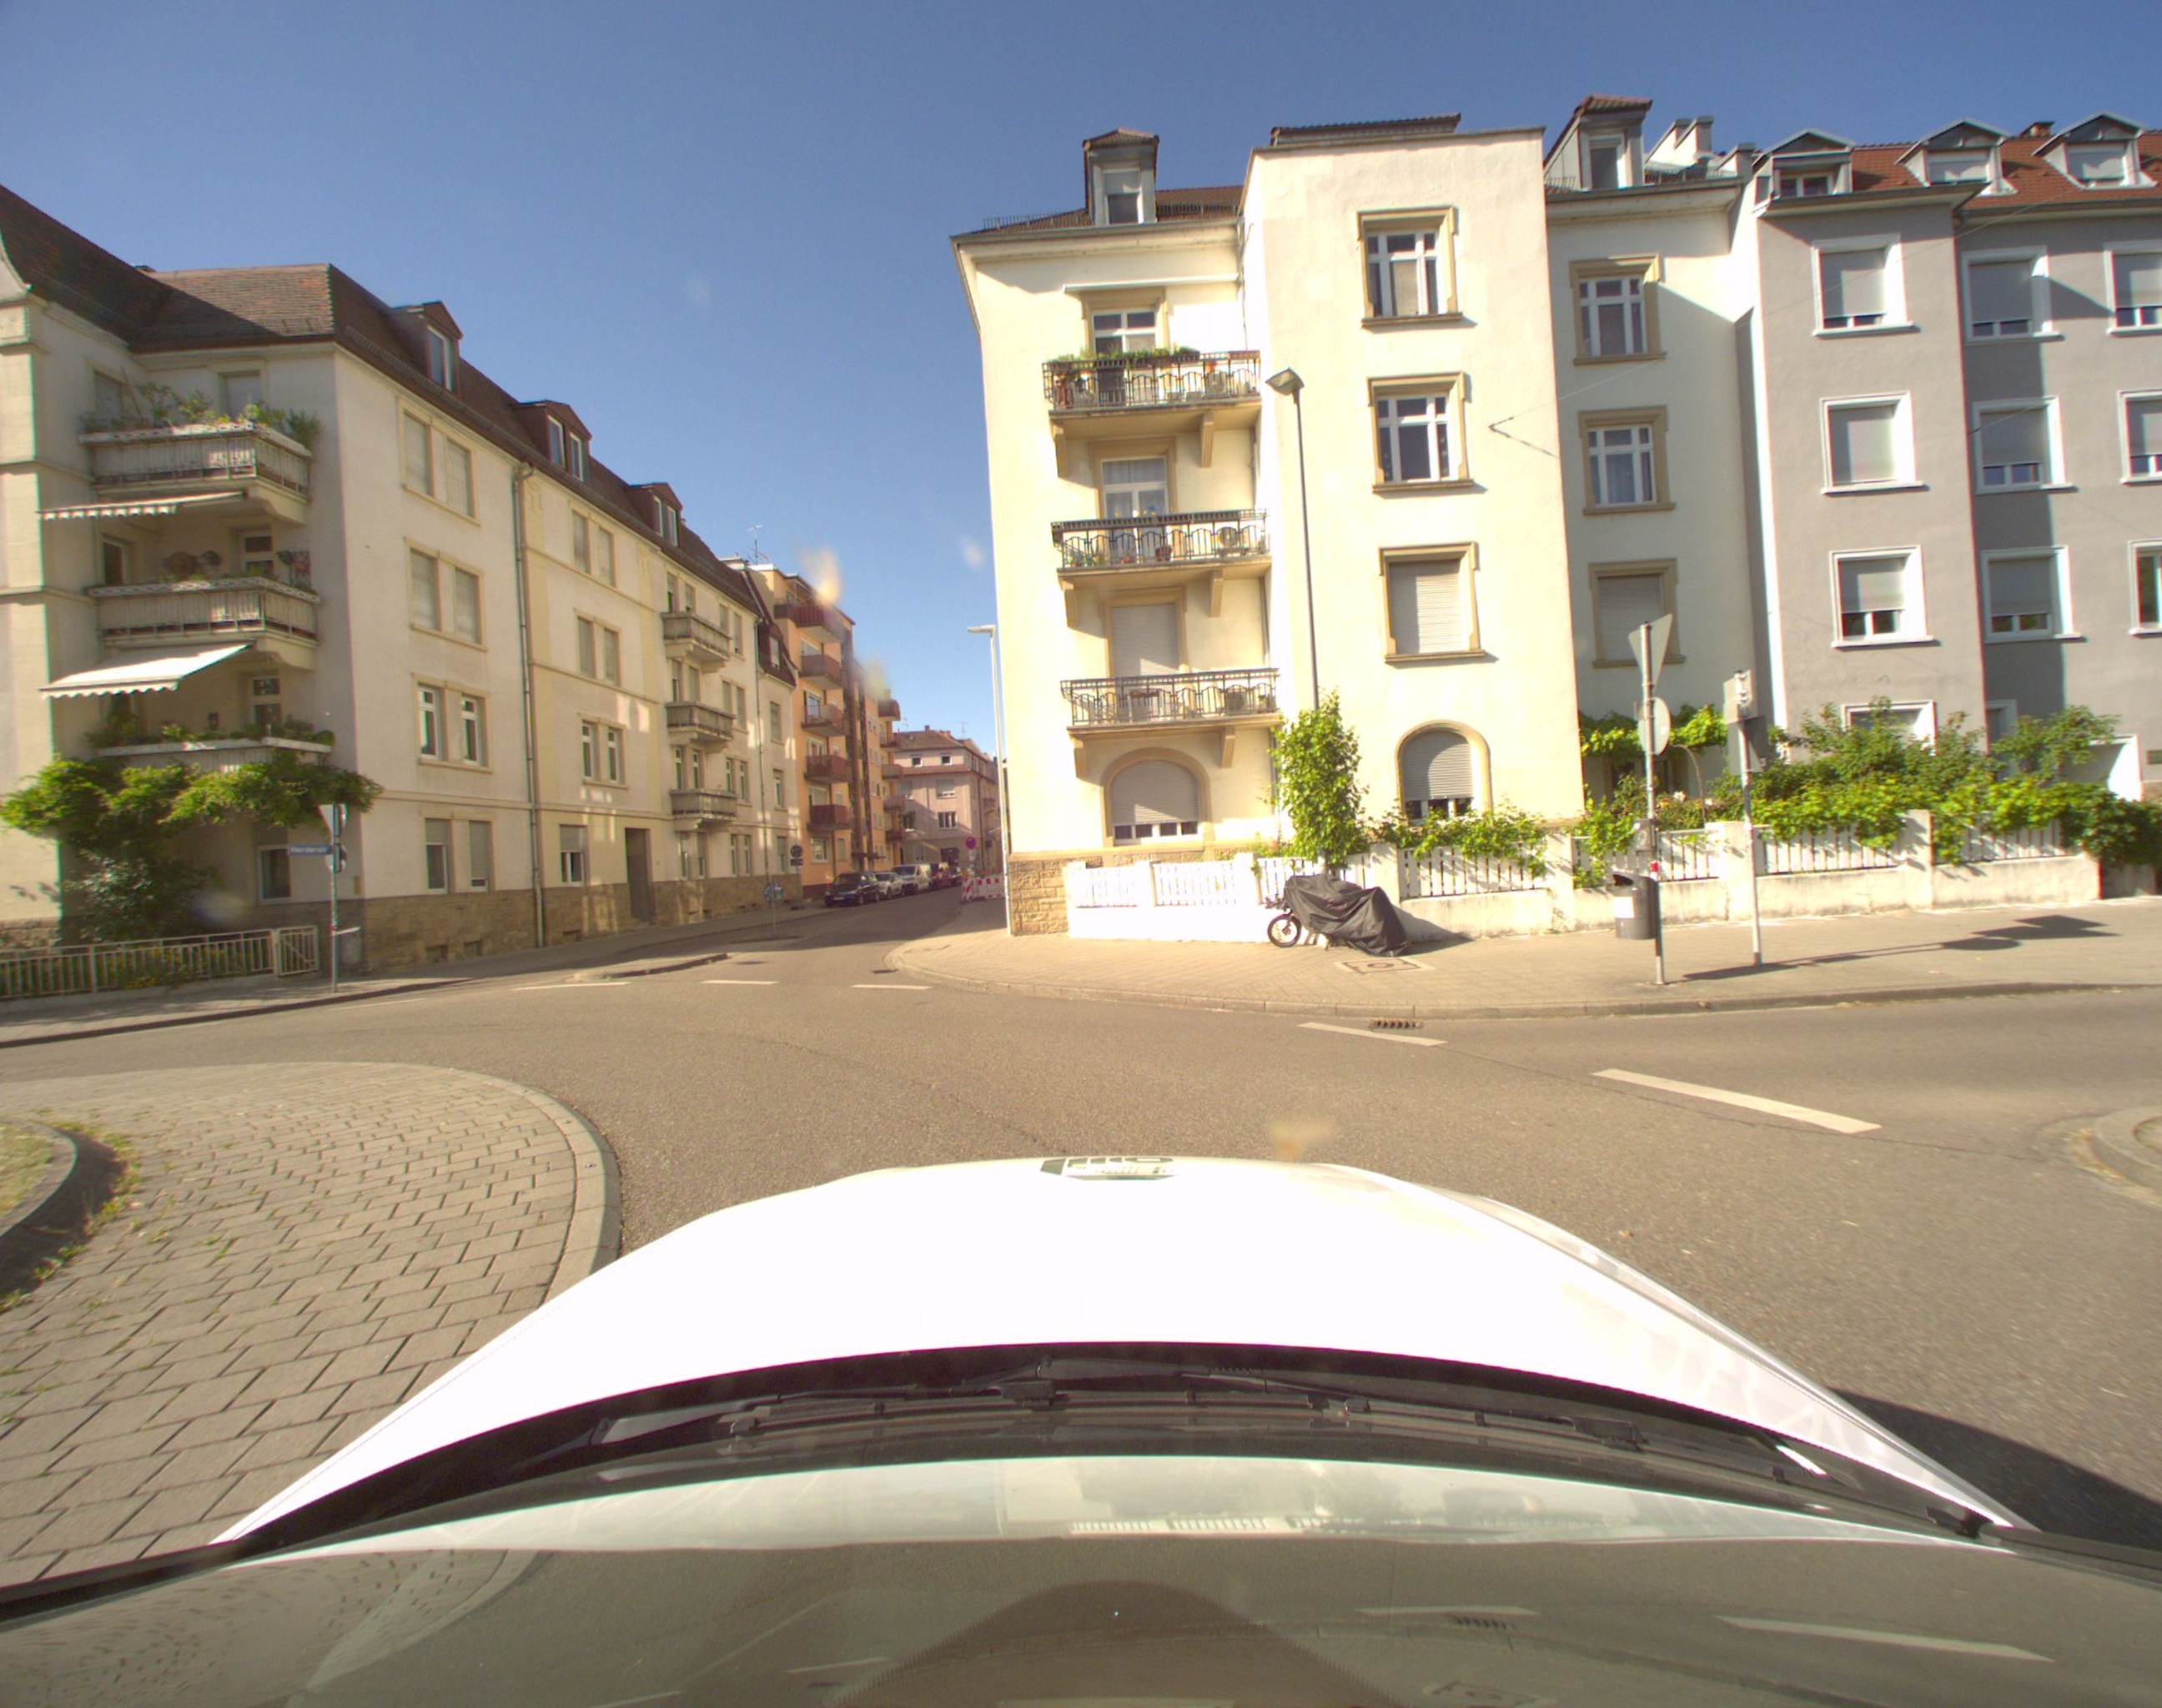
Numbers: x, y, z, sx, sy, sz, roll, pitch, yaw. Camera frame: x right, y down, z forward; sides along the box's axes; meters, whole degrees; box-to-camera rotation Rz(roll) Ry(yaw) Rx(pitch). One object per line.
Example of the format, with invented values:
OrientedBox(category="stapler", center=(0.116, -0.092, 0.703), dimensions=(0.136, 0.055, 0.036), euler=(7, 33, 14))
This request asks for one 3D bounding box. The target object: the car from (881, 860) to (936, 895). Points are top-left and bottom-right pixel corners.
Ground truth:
OrientedBox(category="car", center=(-10.677, 1.409, 50.936), dimensions=(1.967, 1.925, 5.313), euler=(-3, 0, 3))

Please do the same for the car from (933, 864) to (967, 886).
OrientedBox(category="car", center=(-10.075, 1.595, 62.945), dimensions=(1.756, 1.502, 4.002), euler=(-4, 0, 2))

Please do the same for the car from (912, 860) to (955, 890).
OrientedBox(category="car", center=(-10.307, 1.447, 57.318), dimensions=(1.755, 1.925, 4.939), euler=(-3, 0, 3))

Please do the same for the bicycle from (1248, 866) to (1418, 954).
OrientedBox(category="bicycle", center=(3.667, 0.800, 12.024), dimensions=(0.771, 1.157, 2.257), euler=(-2, -1, -45))

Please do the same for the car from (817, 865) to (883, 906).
OrientedBox(category="car", center=(-11.277, 1.491, 40.091), dimensions=(1.755, 1.771, 4.297), euler=(-3, 0, 3))

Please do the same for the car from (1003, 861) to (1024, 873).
OrientedBox(category="car", center=(-7.906, 1.508, 95.659), dimensions=(1.671, 1.426, 4.279), euler=(-1, -1, 5))

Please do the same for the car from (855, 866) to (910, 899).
OrientedBox(category="car", center=(-11.083, 1.552, 45.667), dimensions=(1.755, 1.621, 4.298), euler=(-3, 0, 3))

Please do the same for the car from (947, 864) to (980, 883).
OrientedBox(category="car", center=(-9.821, 1.628, 68.099), dimensions=(1.755, 1.377, 4.483), euler=(-3, 0, 4))
